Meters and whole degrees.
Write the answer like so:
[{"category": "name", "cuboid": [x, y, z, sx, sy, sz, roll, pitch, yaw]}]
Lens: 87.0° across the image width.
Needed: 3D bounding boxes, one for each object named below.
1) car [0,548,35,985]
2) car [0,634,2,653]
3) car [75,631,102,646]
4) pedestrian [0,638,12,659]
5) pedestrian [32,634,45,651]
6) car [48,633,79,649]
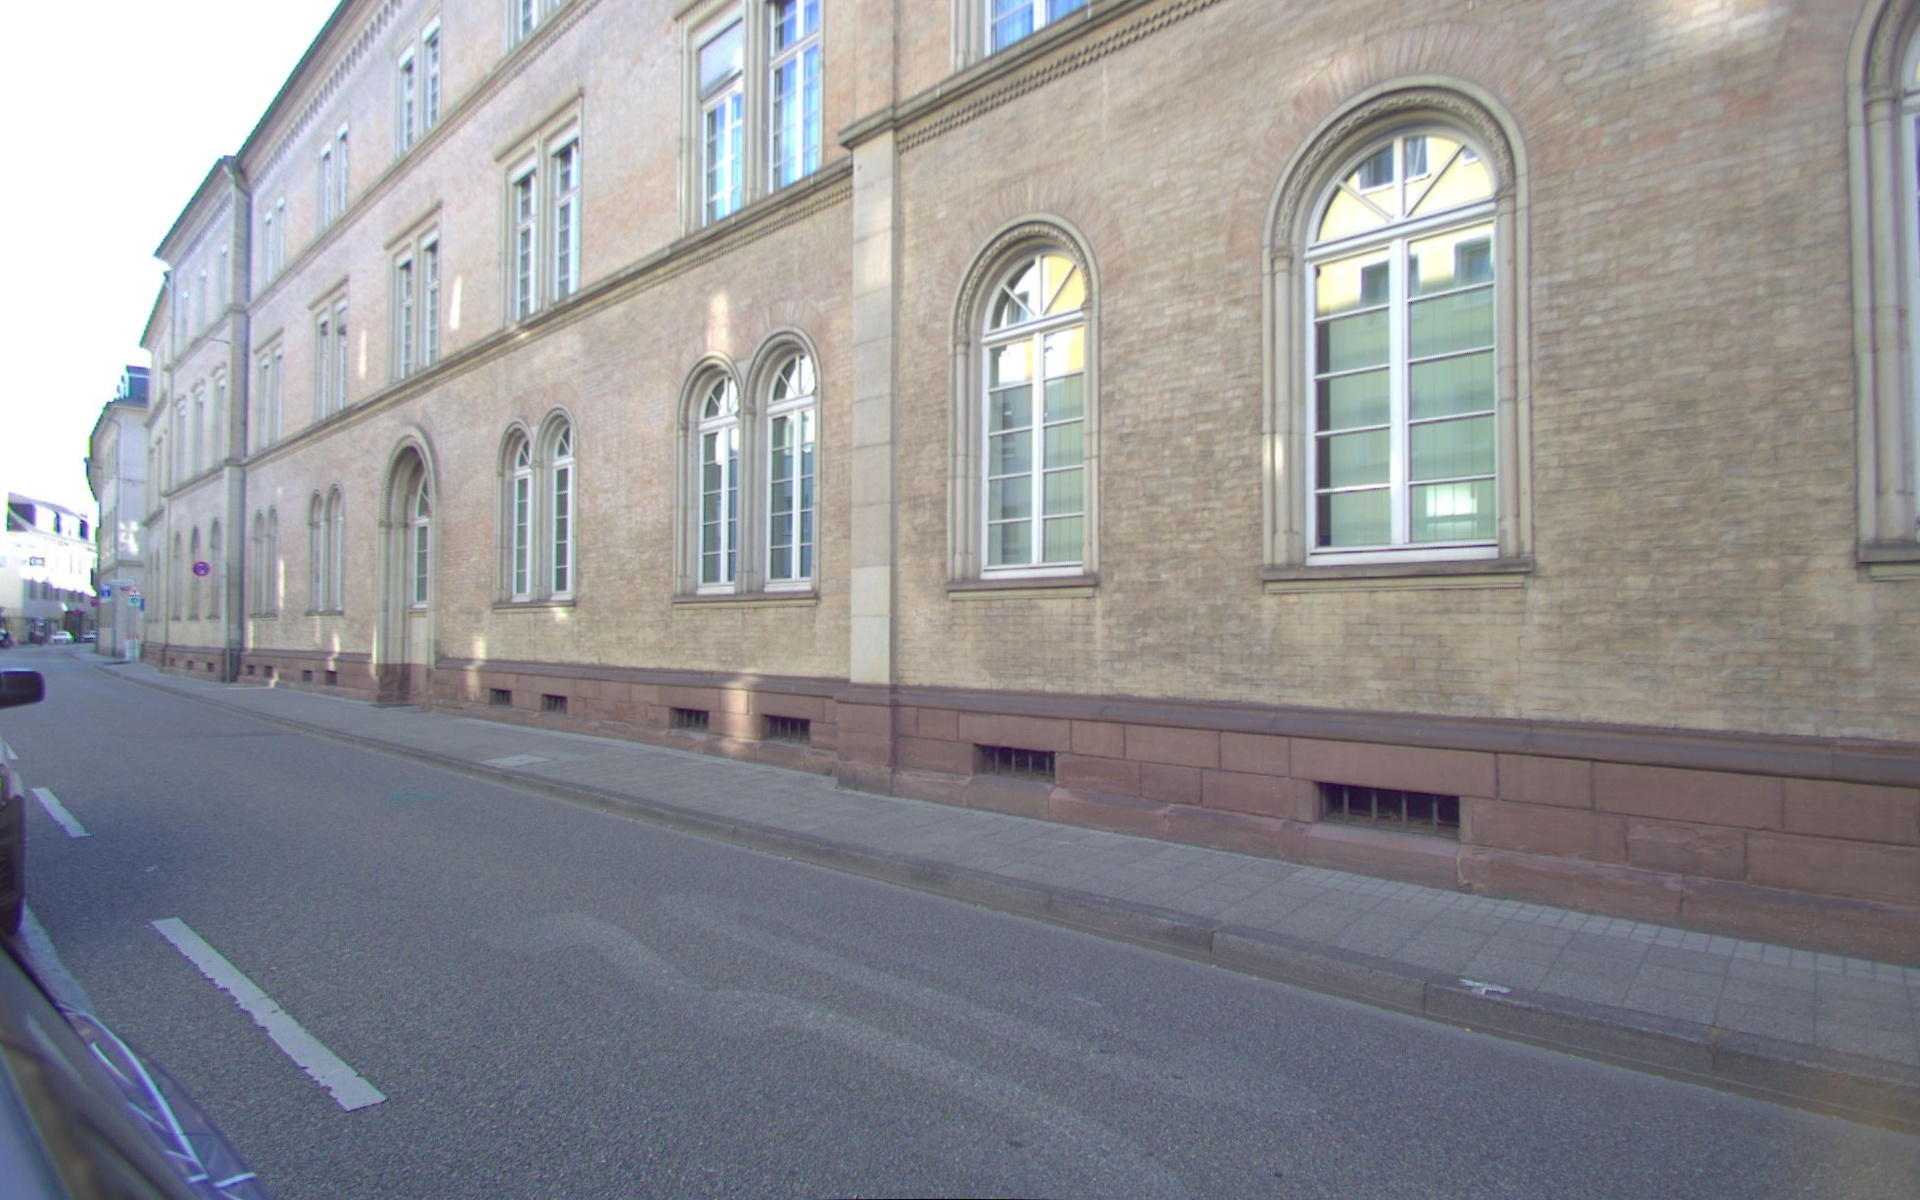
[{"category": "car", "cuboid": [-6.436, 0.689, 5.304, 5.329, 1.784, 1.747, -1, -2, 41]}, {"category": "car", "cuboid": [-86.620, 3.933, 89.942, 1.969, 1.665, 4.235, -1, 0, -41]}, {"category": "car", "cuboid": [-109.237, 4.815, 126.818, 1.966, 1.665, 4.240, -1, 0, -33]}, {"category": "pedestrian", "cuboid": [-77.927, 3.948, 82.534, 0.694, 1.648, 0.834, 5, -4, -38]}, {"category": "pedestrian", "cuboid": [-88.898, 4.090, 97.653, 0.694, 1.648, 0.834, 5, -4, -36]}, {"category": "car", "cuboid": [-102.863, 4.733, 116.166, 1.966, 1.665, 4.240, -1, 0, -33]}]
